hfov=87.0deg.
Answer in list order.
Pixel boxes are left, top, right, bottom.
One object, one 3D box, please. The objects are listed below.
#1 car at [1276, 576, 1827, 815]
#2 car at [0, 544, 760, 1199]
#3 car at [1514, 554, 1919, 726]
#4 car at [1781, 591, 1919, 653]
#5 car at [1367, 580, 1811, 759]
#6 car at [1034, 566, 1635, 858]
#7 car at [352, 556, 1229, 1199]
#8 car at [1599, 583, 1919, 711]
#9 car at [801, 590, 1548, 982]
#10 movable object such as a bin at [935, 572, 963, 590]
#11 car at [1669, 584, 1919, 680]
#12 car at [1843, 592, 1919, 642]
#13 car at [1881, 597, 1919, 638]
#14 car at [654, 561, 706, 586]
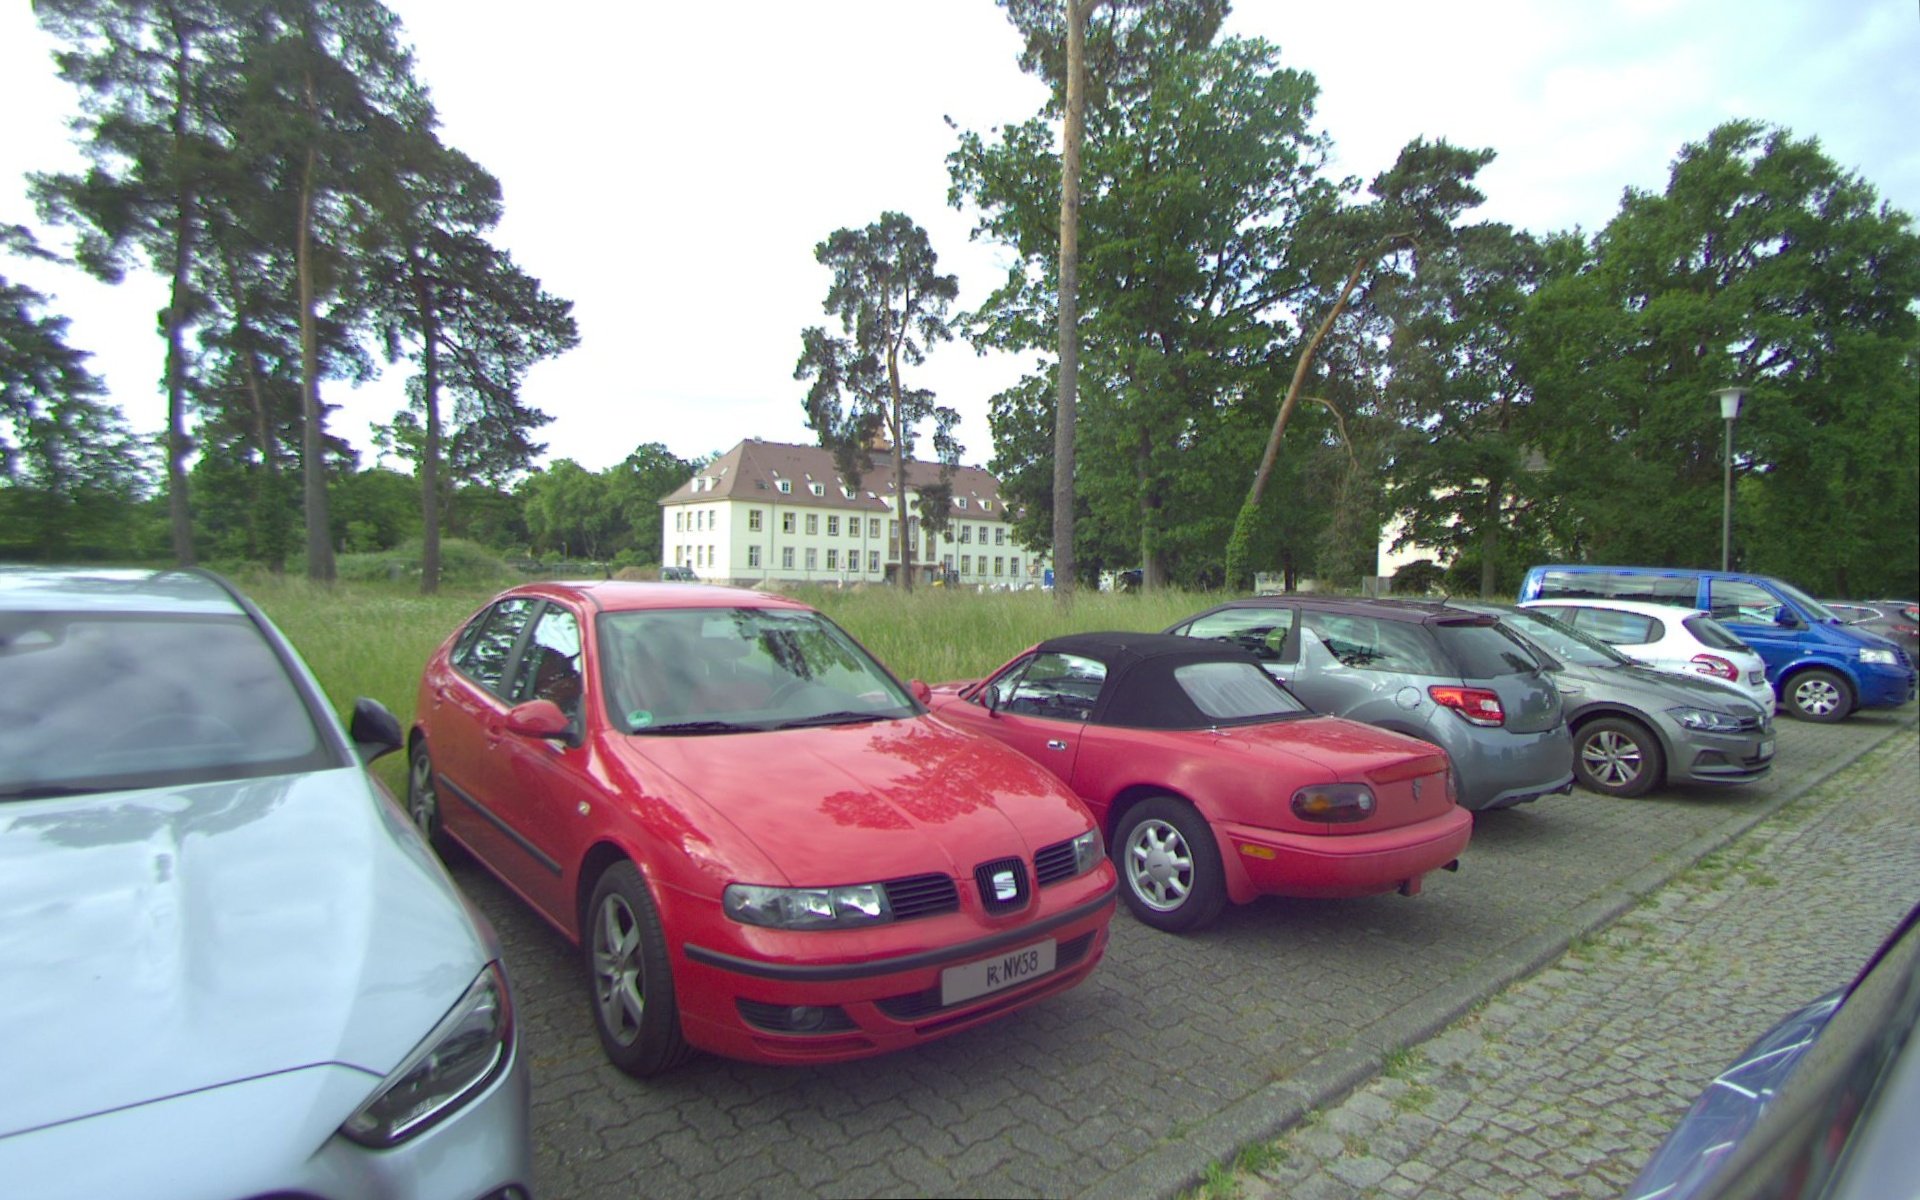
[{"bbox_3d":[5.044,0.633,9.059,1.727,1.490,3.871,0,3,-41],"label":"car"},{"bbox_3d":[-2.548,0.616,2.749,1.840,1.434,4.428,0,3,-43],"label":"car"},{"bbox_3d":[11.028,0.418,14.659,1.969,1.969,4.817,0,3,-42],"label":"car"},{"bbox_3d":[24.863,0.592,27.369,1.555,1.478,3.891,0,3,-42],"label":"car"},{"bbox_3d":[6.905,0.620,11.449,1.727,1.490,3.872,1,3,-40],"label":"car"},{"bbox_3d":[2.570,0.582,7.658,1.728,1.490,3.870,0,3,-42],"label":"car"},{"bbox_3d":[-1.191,0.614,4.462,1.838,1.434,4.271,0,3,-41],"label":"car"},{"bbox_3d":[12.880,0.641,16.361,1.810,1.489,3.871,0,5,-42],"label":"car"},{"bbox_3d":[0.899,0.677,5.769,1.728,1.251,3.870,0,3,-42],"label":"car"},{"bbox_3d":[-1.238,-2.265,118.260,2.932,2.039,1.553,0,1,-41],"label":"movable object such as a bin"},{"bbox_3d":[17.301,0.574,20.677,1.791,1.618,4.268,0,3,-42],"label":"car"},{"bbox_3d":[32.494,0.626,33.928,1.555,1.557,4.147,0,3,-42],"label":"car"},{"bbox_3d":[36.147,0.700,36.699,1.555,1.443,3.875,0,3,-42],"label":"car"},{"bbox_3d":[-28.001,-2.632,101.104,5.848,2.269,2.282,4,3,42],"label":"car"}]
